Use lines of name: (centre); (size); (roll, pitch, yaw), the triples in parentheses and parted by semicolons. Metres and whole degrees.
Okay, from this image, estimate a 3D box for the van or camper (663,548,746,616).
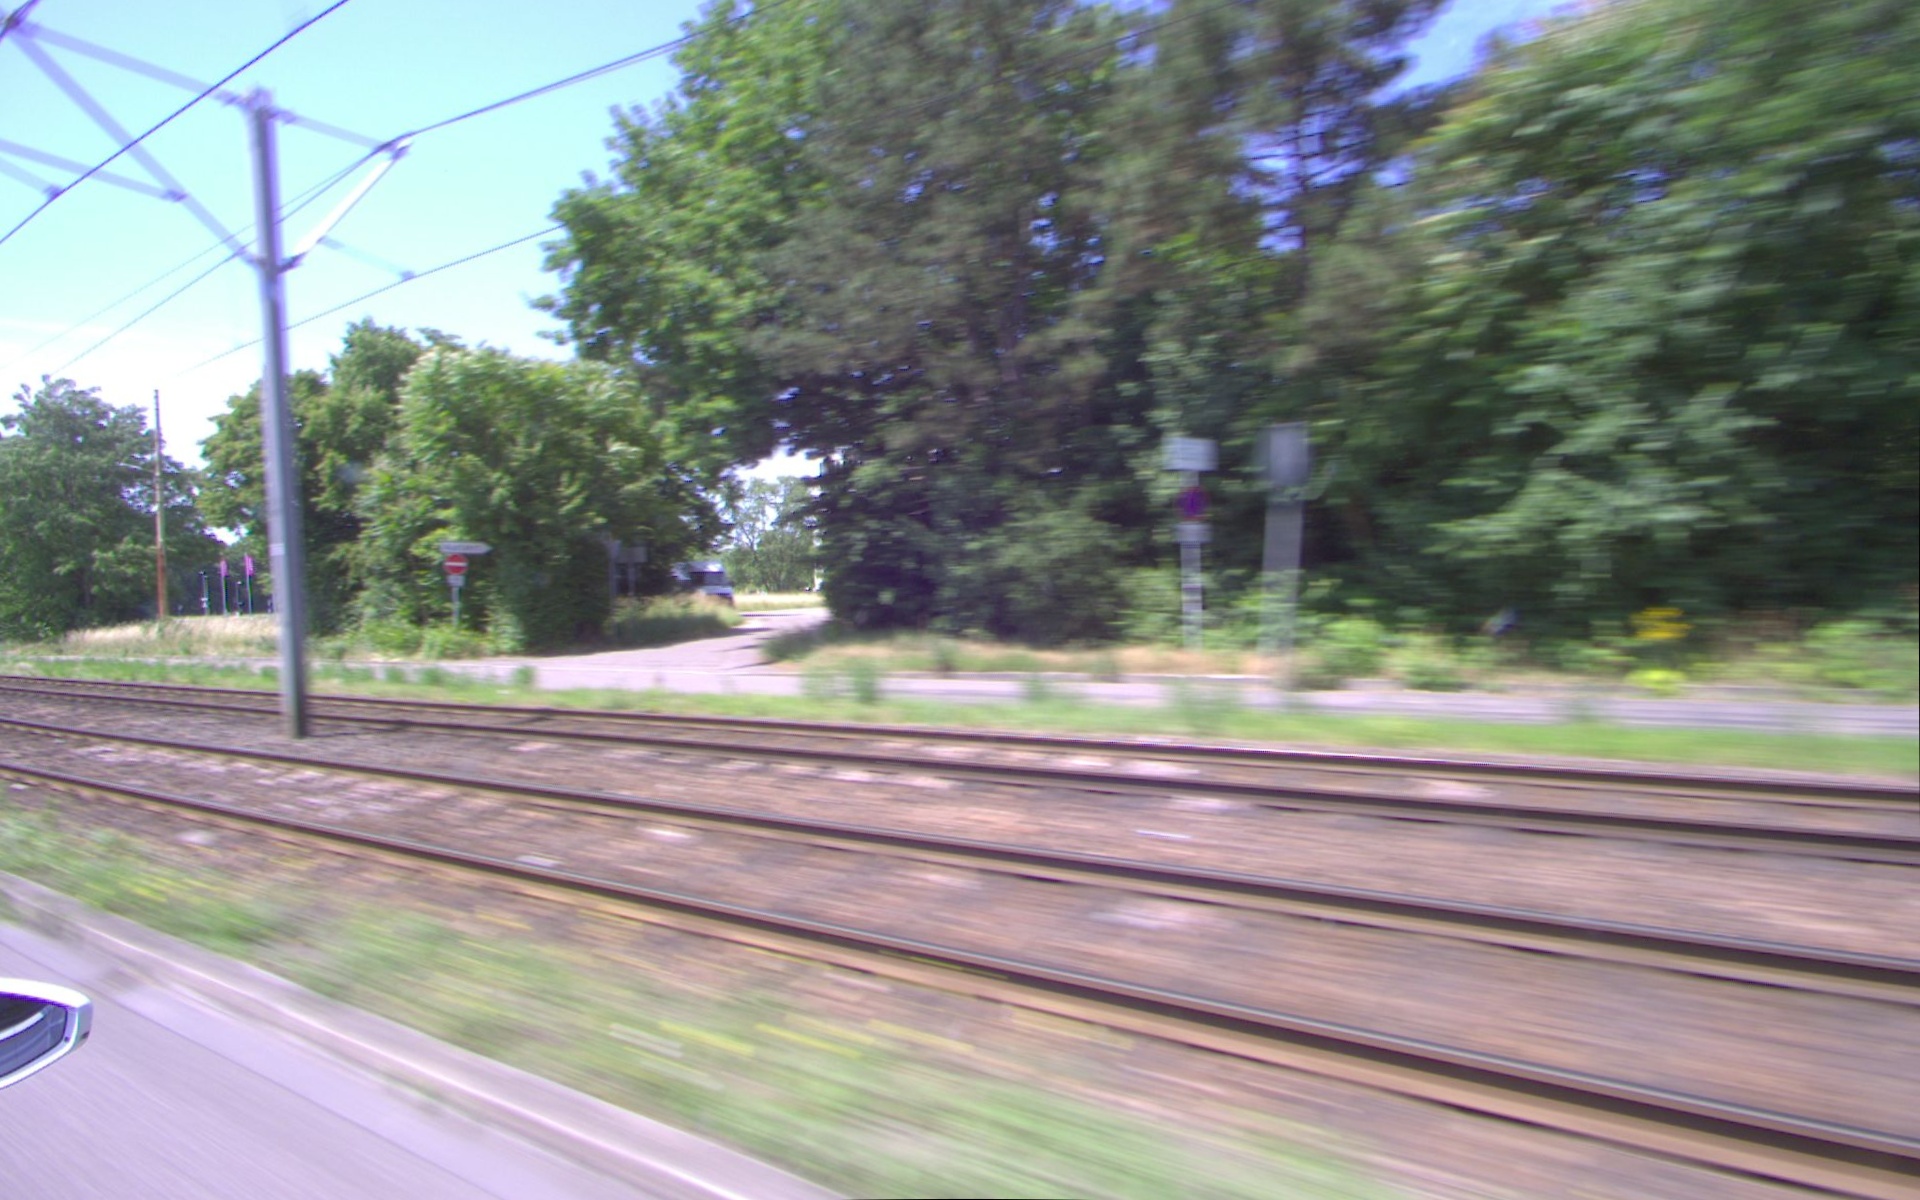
van or camper: (-12.164, -0.752, 47.463); (2.307, 2.670, 4.407); (6, -6, -34)
